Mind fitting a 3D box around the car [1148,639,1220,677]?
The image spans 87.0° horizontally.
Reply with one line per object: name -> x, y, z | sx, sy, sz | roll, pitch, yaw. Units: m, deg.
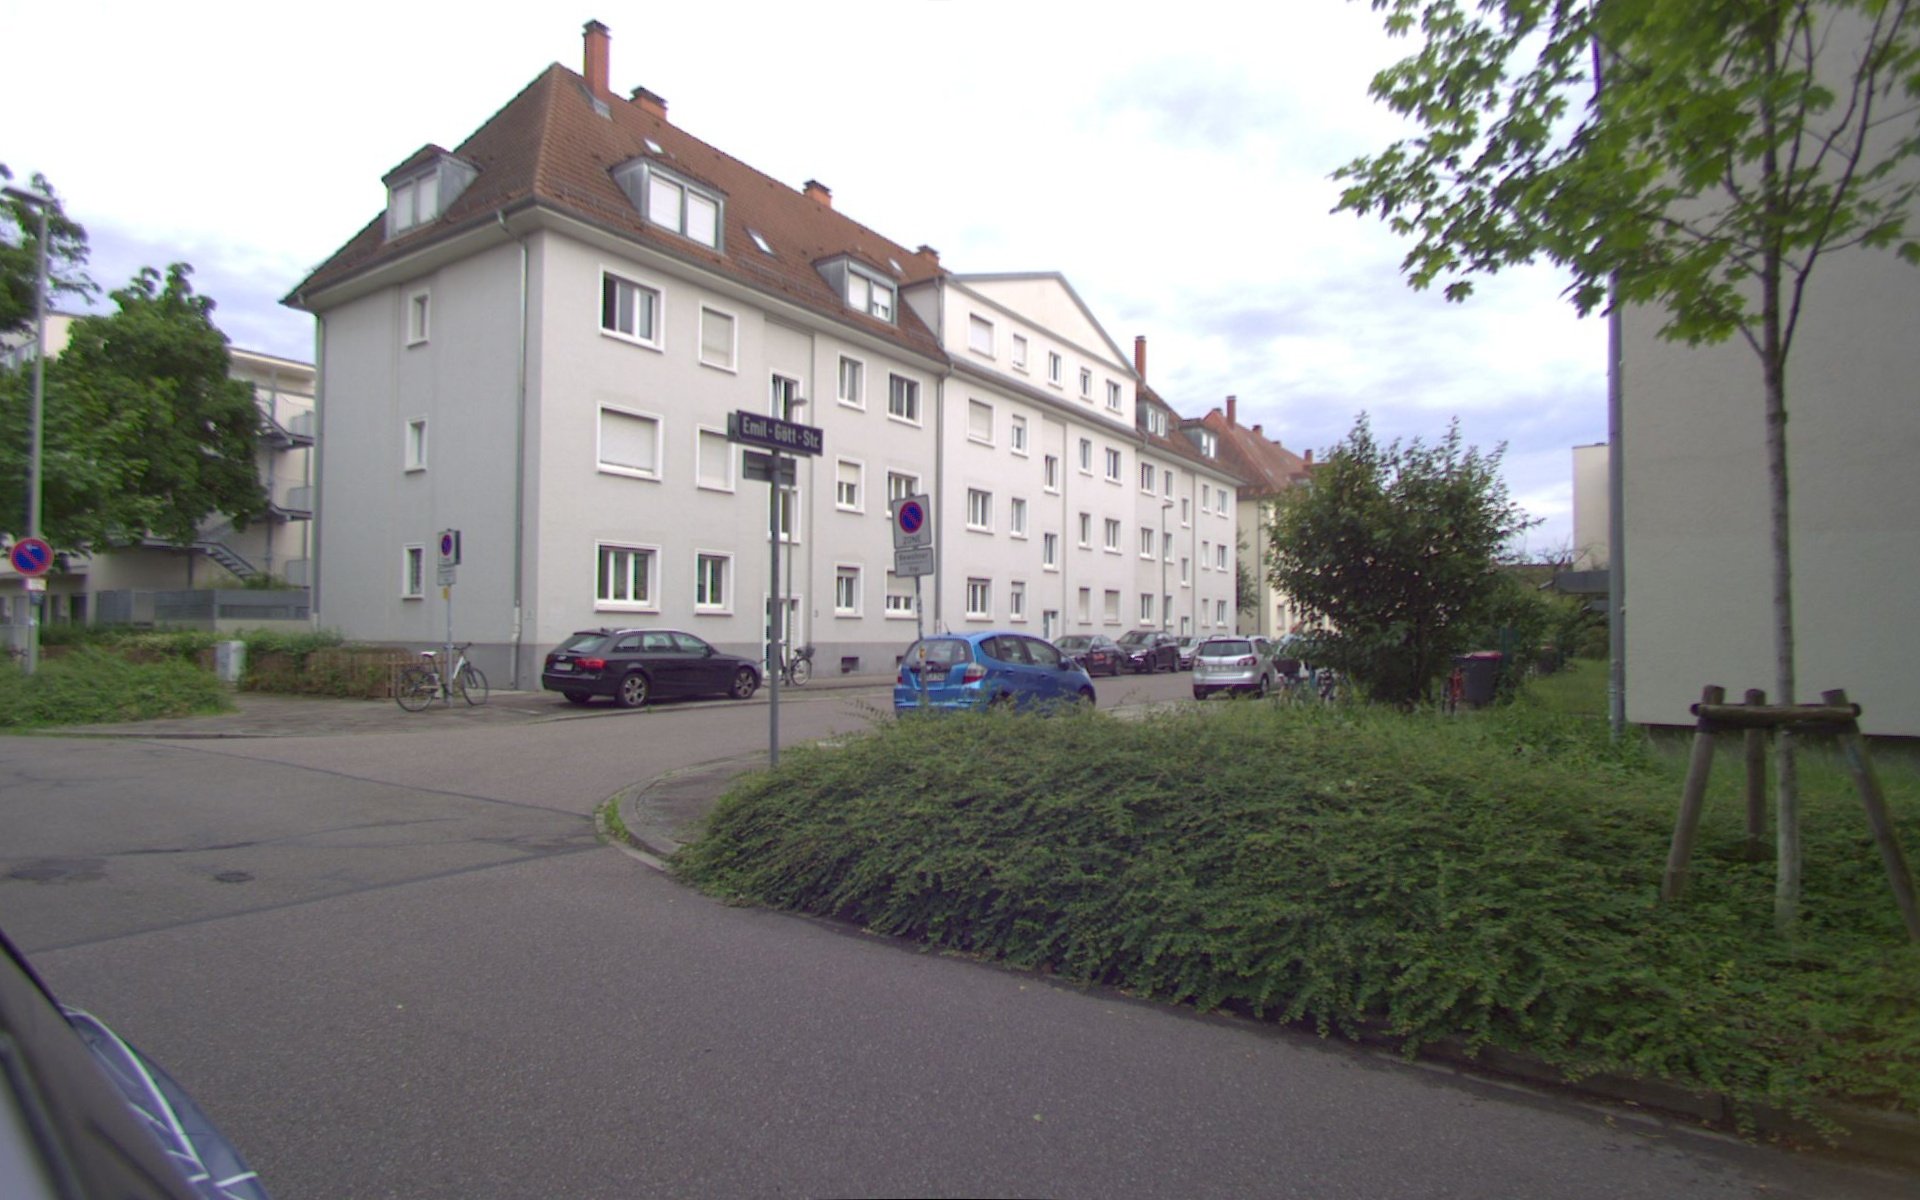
car -> 9.553, 2.427, 42.959 | 1.733, 1.498, 3.713 | -1, -3, 34

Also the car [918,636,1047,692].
car -> 0.748, 1.813, 29.401 | 1.733, 1.474, 4.381 | -1, -3, 32

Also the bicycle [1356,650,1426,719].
bicycle -> 7.287, 1.391, 17.070 | 0.658, 1.079, 2.149 | -1, -3, 35

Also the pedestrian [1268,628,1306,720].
pedestrian -> 5.677, 1.279, 17.561 | 0.447, 1.561, 0.560 | -2, -4, 39

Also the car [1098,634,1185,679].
car -> 6.979, 2.138, 38.667 | 1.848, 1.611, 4.113 | -1, -3, 32

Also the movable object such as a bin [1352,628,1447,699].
movable object such as a bin -> 9.339, 1.331, 21.493 | 1.590, 1.432, 1.652 | -1, -3, 33

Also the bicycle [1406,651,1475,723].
bicycle -> 7.785, 1.368, 16.344 | 0.658, 1.079, 2.149 | -1, -3, 35

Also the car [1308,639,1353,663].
car -> 23.171, 3.163, 63.201 | 1.733, 1.437, 4.169 | -1, -3, 33

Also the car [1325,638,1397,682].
car -> 14.949, 2.202, 37.619 | 1.718, 1.521, 4.637 | -1, -3, 31

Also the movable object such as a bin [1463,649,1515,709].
movable object such as a bin -> 10.270, 1.521, 19.649 | 0.842, 1.125, 0.591 | -1, -3, 32

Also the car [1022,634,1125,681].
car -> 3.901, 1.922, 34.226 | 1.782, 1.474, 4.274 | -1, -3, 32

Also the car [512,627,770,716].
car -> -6.016, 1.319, 19.695 | 1.861, 1.474, 4.673 | 0, -2, 33

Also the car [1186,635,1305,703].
car -> 7.211, 1.711, 25.343 | 1.655, 1.563, 3.869 | -4, -5, 34

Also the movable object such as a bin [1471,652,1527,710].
movable object such as a bin -> 10.107, 1.506, 18.982 | 0.864, 1.059, 0.627 | -1, -3, 33

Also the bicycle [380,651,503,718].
bicycle -> -8.994, 1.436, 17.628 | 0.568, 1.011, 1.867 | 1, 0, 34

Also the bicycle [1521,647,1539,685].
bicycle -> 16.255, 1.864, 28.852 | 0.420, 1.032, 1.543 | -1, -3, 30

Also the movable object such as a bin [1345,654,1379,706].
movable object such as a bin -> 8.193, 1.617, 20.620 | 0.537, 1.041, 0.591 | -1, -3, 33

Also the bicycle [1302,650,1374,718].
bicycle -> 6.449, 1.396, 17.194 | 0.658, 1.076, 2.096 | -1, -3, 35

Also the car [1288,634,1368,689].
car -> 12.004, 1.958, 32.929 | 1.685, 1.651, 3.686 | -1, -3, 33

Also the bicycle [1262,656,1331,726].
bicycle -> 5.800, 1.536, 17.395 | 0.537, 1.128, 1.794 | -2, -4, 39

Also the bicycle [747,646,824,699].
bicycle -> -4.310, 1.776, 25.123 | 0.749, 1.209, 1.873 | 1, -2, 34

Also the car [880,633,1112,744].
car -> 0.677, 1.294, 15.549 | 1.731, 1.474, 3.911 | -4, -4, 34
